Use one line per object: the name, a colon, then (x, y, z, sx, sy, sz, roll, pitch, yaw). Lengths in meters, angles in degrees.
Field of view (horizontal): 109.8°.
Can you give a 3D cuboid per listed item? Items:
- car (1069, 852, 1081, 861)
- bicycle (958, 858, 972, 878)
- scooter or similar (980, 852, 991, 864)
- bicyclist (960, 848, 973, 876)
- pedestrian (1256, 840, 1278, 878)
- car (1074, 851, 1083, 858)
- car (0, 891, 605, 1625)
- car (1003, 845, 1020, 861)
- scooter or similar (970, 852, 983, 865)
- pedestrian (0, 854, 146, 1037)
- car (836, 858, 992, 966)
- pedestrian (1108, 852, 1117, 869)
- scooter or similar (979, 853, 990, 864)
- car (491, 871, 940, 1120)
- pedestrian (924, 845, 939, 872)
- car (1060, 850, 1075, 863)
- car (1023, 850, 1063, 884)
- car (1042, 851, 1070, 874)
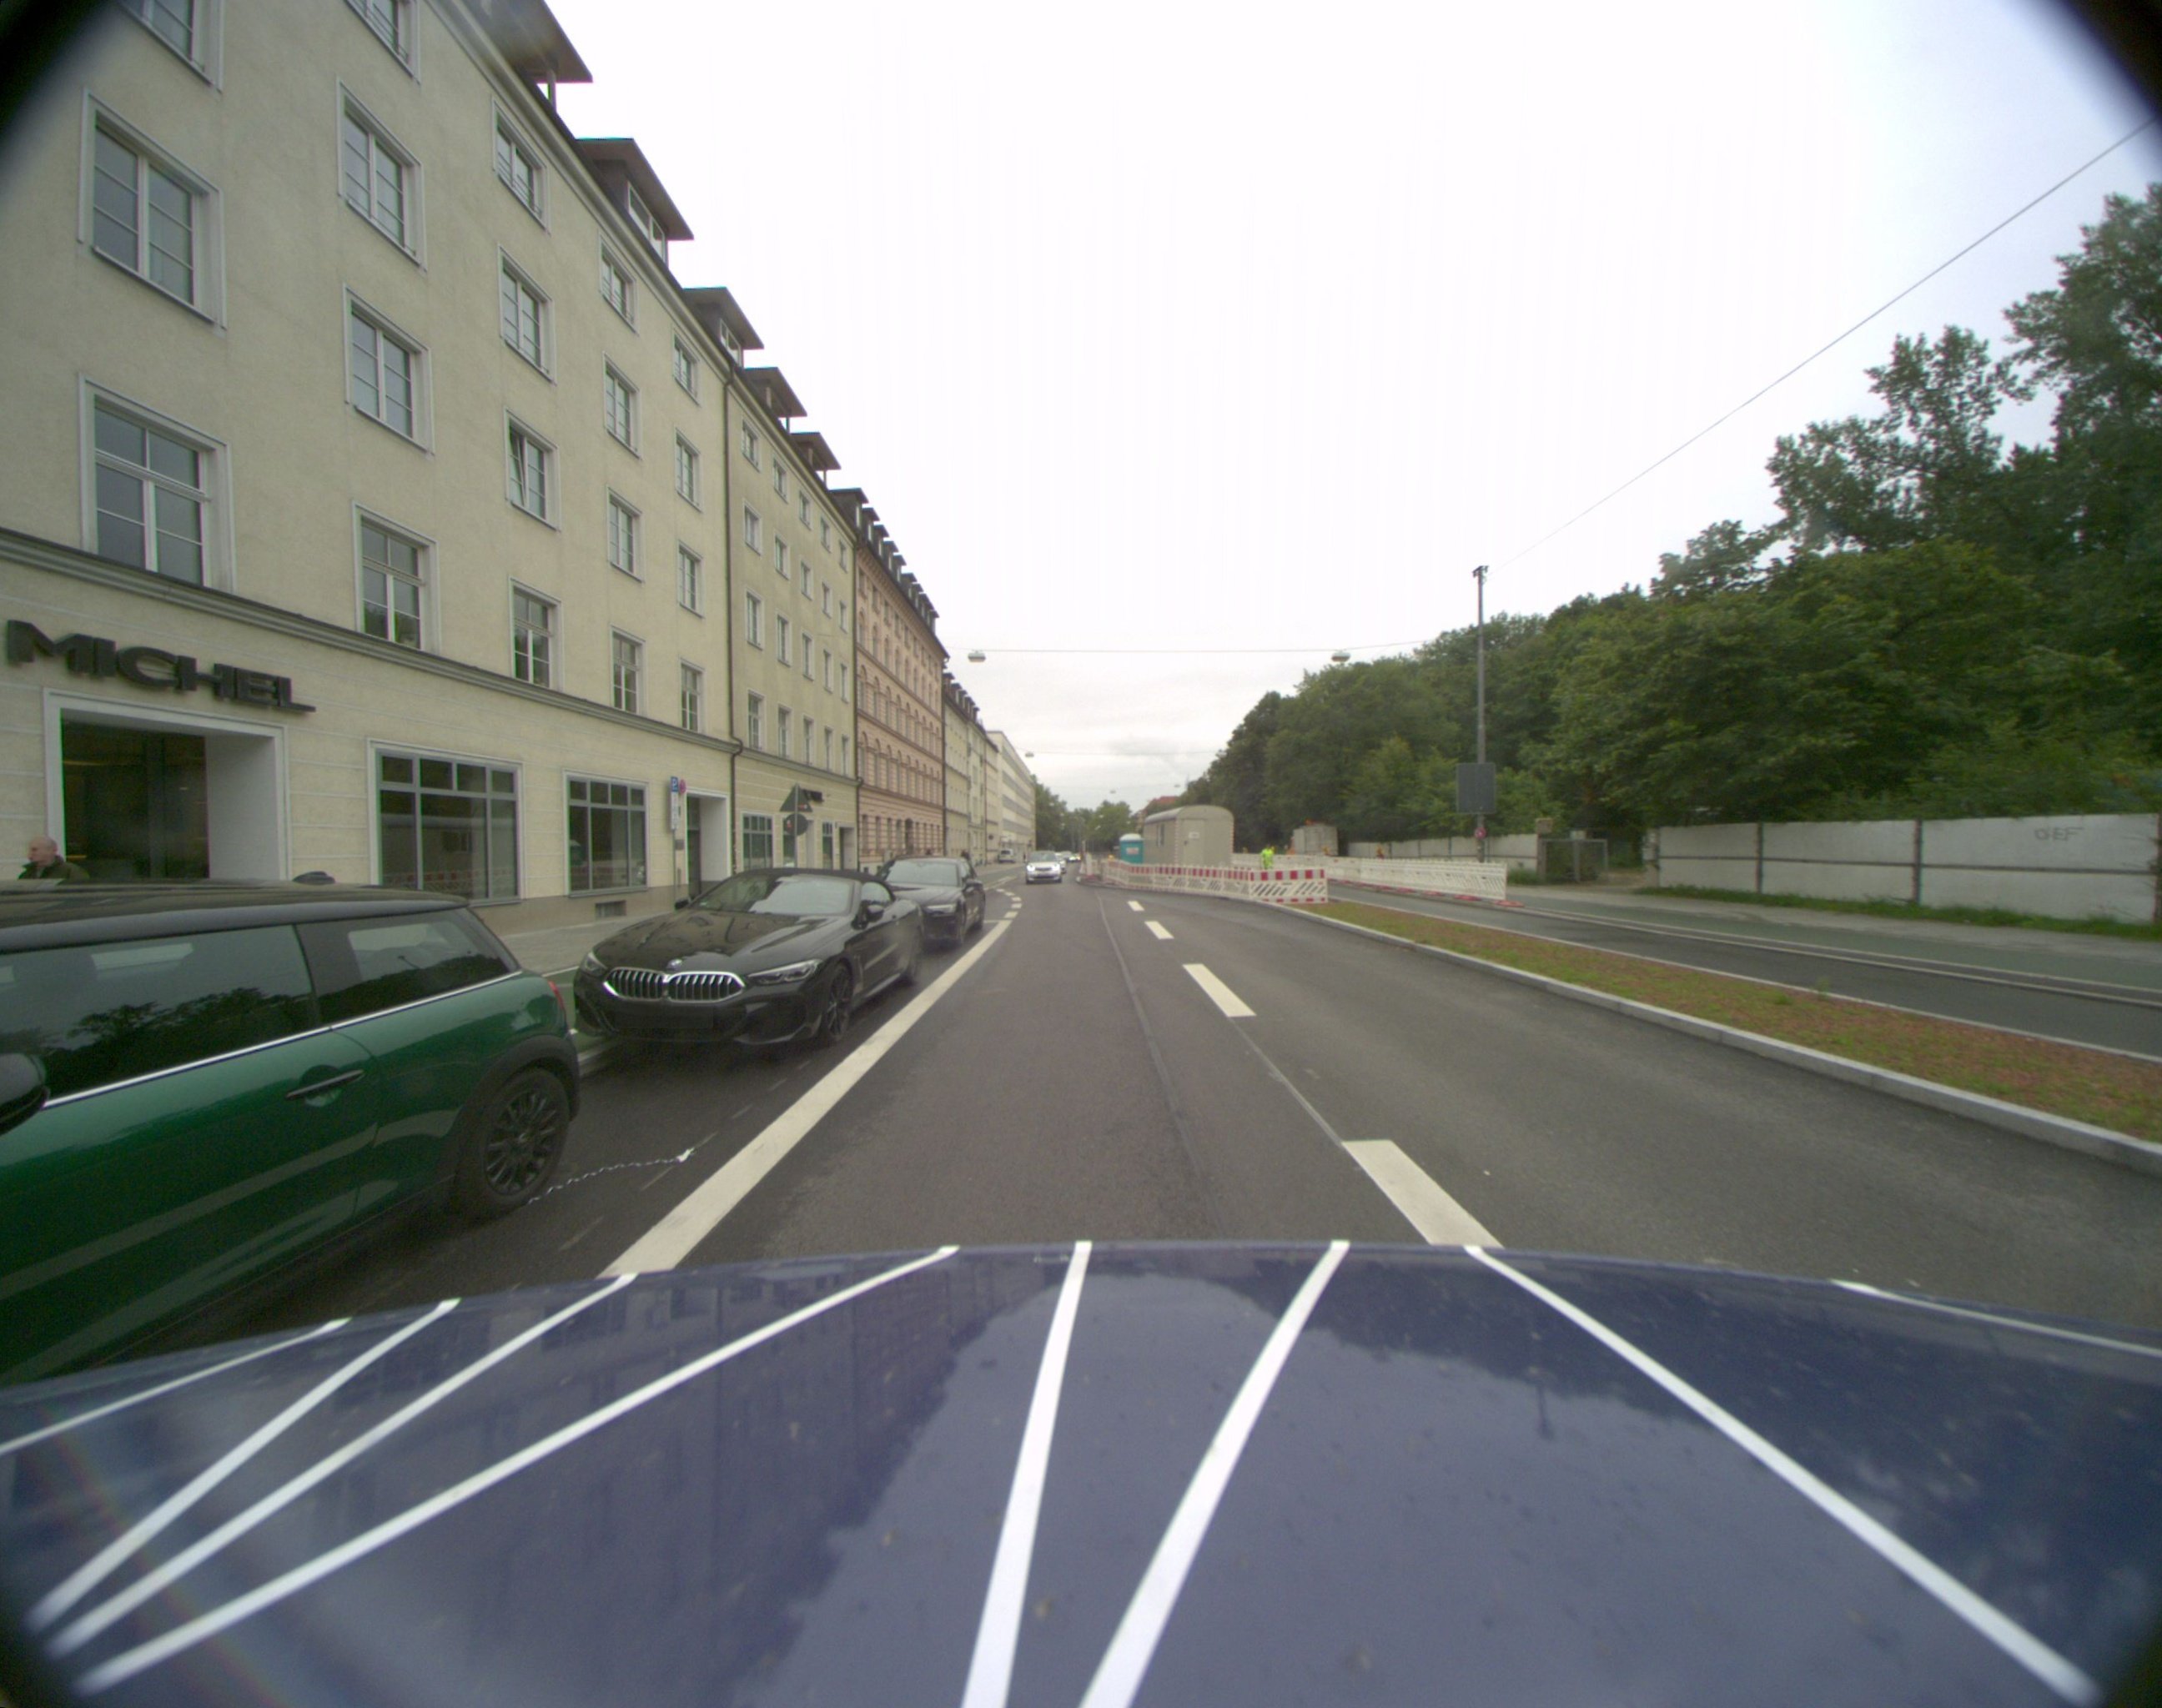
car: (-1.014, 0.422, 125.731, 1.759, 1.461, 3.999, -2, 1, -1)
bicycle: (-6.276, 0.769, 41.249, 0.632, 1.031, 2.016, -1, 1, -6)
scooter or similar: (-9.685, 0.443, 76.972, 1.078, 1.185, 0.453, -1, 1, -29)
bicyclist: (-6.211, 0.424, 41.267, 0.632, 1.459, 0.652, -1, 1, -6)
pedestrian: (9.491, 0.251, 38.860, 0.890, 1.930, 0.875, -1, 1, -2)
car: (-0.554, 0.136, 168.016, 1.759, 1.461, 3.999, -2, 1, -1)
car: (-3.260, 0.983, 1.829, 1.679, 1.512, 3.829, -2, 1, 2)
car: (-8.665, -0.145, 94.625, 1.766, 1.821, 3.999, -1, 1, 0)
scooter or similar: (-9.916, 0.450, 72.136, 0.552, 1.238, 1.079, 0, 1, 35)
pedestrian: (-10.068, 0.843, 7.417, 0.780, 1.679, 0.861, 0, 1, 1)
car: (-2.742, 0.876, 13.527, 1.813, 1.472, 4.461, 3, 0, -1)
pedestrian: (3.281, 0.673, 79.474, 0.860, 1.826, 0.874, -1, 1, -7)
scooter or similar: (-9.947, 0.448, 78.309, 1.079, 1.185, 0.436, -1, 1, -39)
car: (-2.783, 0.967, 7.233, 1.830, 1.399, 4.719, -2, 1, 2)
pedestrian: (-9.468, 0.286, 48.156, 0.795, 1.735, 0.833, -1, 1, 1)
car: (-1.650, 0.333, 92.245, 1.759, 1.461, 3.999, -2, 1, -1)
car: (-1.853, 0.586, 36.750, 1.759, 1.461, 3.998, -2, 1, -4)
car: (-1.784, 0.587, 52.623, 1.759, 1.461, 3.998, -2, 1, -4)
